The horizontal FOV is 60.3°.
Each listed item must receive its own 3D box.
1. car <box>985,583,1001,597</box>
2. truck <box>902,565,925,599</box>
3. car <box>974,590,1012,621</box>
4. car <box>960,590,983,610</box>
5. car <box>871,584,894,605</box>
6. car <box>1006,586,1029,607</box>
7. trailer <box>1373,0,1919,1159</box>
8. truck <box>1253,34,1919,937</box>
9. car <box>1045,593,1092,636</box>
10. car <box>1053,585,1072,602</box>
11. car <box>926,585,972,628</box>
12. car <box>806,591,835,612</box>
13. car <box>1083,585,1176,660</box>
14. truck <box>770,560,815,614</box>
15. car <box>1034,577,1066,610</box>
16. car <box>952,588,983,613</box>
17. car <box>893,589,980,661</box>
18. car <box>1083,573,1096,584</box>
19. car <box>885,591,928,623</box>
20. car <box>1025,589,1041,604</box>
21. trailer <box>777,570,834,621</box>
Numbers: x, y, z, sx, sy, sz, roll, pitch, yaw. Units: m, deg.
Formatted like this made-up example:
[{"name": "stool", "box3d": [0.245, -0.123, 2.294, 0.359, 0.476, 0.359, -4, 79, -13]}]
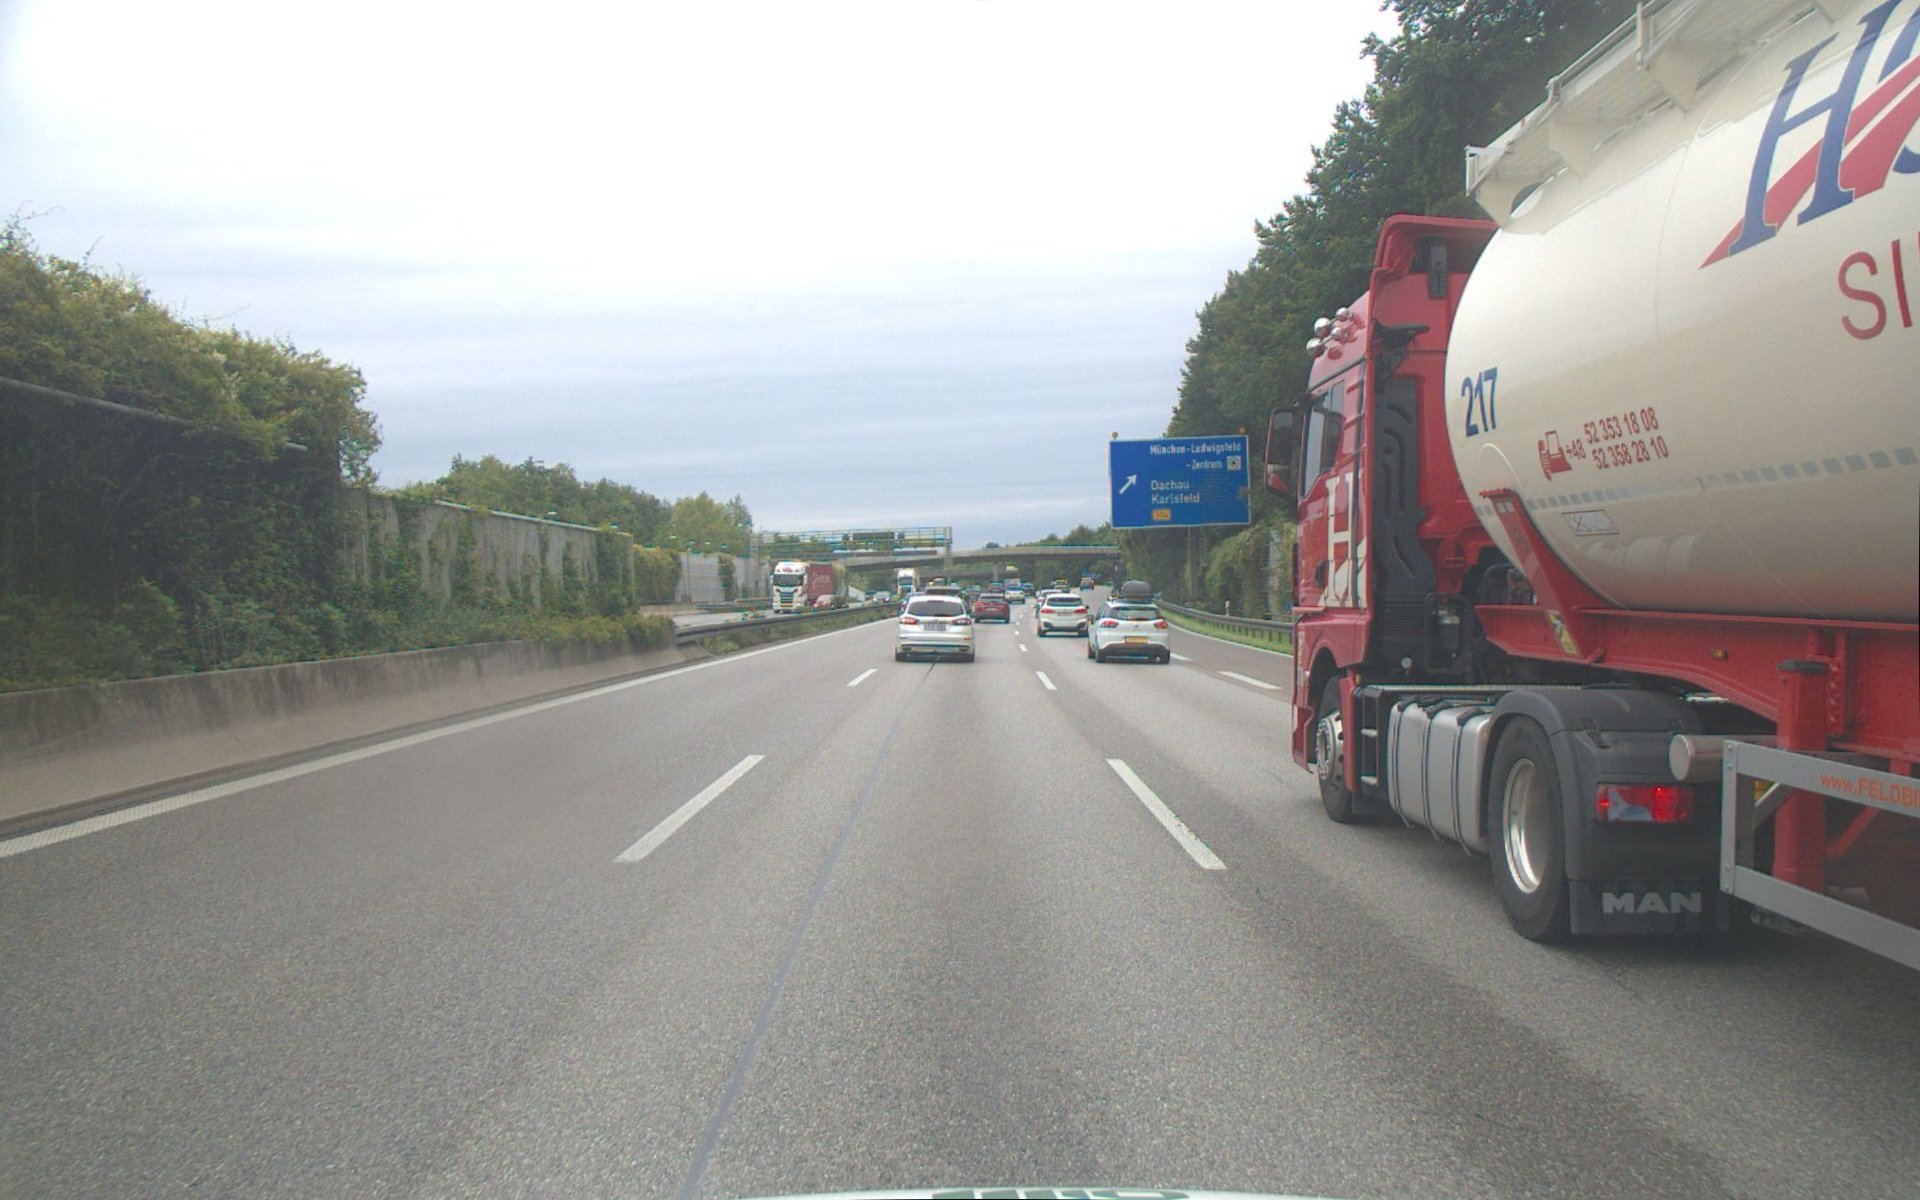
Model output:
[{"name": "car", "box3d": [3.728, -1.132, 185.511, 1.653, 1.447, 3.873, 0, 0, 3]}, {"name": "truck", "box3d": [-6.435, -2.452, 228.024, 2.593, 4.551, 5.286, -1, 0, 4]}, {"name": "car", "box3d": [1.698, 0.263, 83.878, 1.653, 1.533, 3.874, 0, 0, 5]}, {"name": "car", "box3d": [1.039, 0.036, 143.133, 1.653, 1.668, 3.873, -1, 0, 5]}, {"name": "car", "box3d": [-7.665, -0.565, 163.247, 1.952, 1.768, 4.003, 2, 4, 1]}, {"name": "car", "box3d": [5.151, -0.331, 147.429, 1.752, 1.811, 3.873, -1, 0, 5]}, {"name": "trailer", "box3d": [3.884, -0.509, 3.313, 2.614, 4.007, 13.127, 0, 0, -1]}, {"name": "truck", "box3d": [3.808, -0.501, 10.587, 2.640, 3.981, 6.555, 0, 0, -1]}, {"name": "car", "box3d": [3.978, 0.521, 60.650, 1.653, 1.533, 3.873, 0, 0, 4]}, {"name": "car", "box3d": [9.673, -0.619, 156.124, 1.653, 1.566, 3.874, 0, 0, 5]}, {"name": "car", "box3d": [-0.424, 0.245, 66.626, 1.654, 1.532, 3.872, 4, 1, 1]}, {"name": "car", "box3d": [-10.703, 0.148, 126.977, 1.735, 1.597, 4.717, 0, 0, 1]}, {"name": "car", "box3d": [3.983, 0.503, 39.585, 1.778, 1.654, 5.030, -1, 0, 1]}, {"name": "truck", "box3d": [-13.639, -1.058, 135.048, 2.612, 4.200, 5.919, -1, 0, 4]}, {"name": "car", "box3d": [5.256, -0.353, 96.209, 1.653, 1.811, 3.873, -1, -1, 5]}, {"name": "car", "box3d": [0.519, 0.032, 106.330, 1.653, 1.533, 3.874, -1, 1, 5]}, {"name": "car", "box3d": [-0.505, 0.552, 38.685, 1.853, 1.530, 5.030, 1, 0, 0]}, {"name": "car", "box3d": [17.215, -2.799, 220.637, 1.653, 1.447, 3.873, 0, 0, 3]}, {"name": "car", "box3d": [-2.674, 0.386, 84.031, 1.684, 1.495, 5.031, -1, -2, 4]}, {"name": "car", "box3d": [8.063, -0.415, 182.729, 1.653, 1.566, 3.874, 0, 0, 5]}, {"name": "trailer", "box3d": [-13.166, -0.411, 142.270, 2.687, 4.200, 13.695, 0, 0, 4]}]
